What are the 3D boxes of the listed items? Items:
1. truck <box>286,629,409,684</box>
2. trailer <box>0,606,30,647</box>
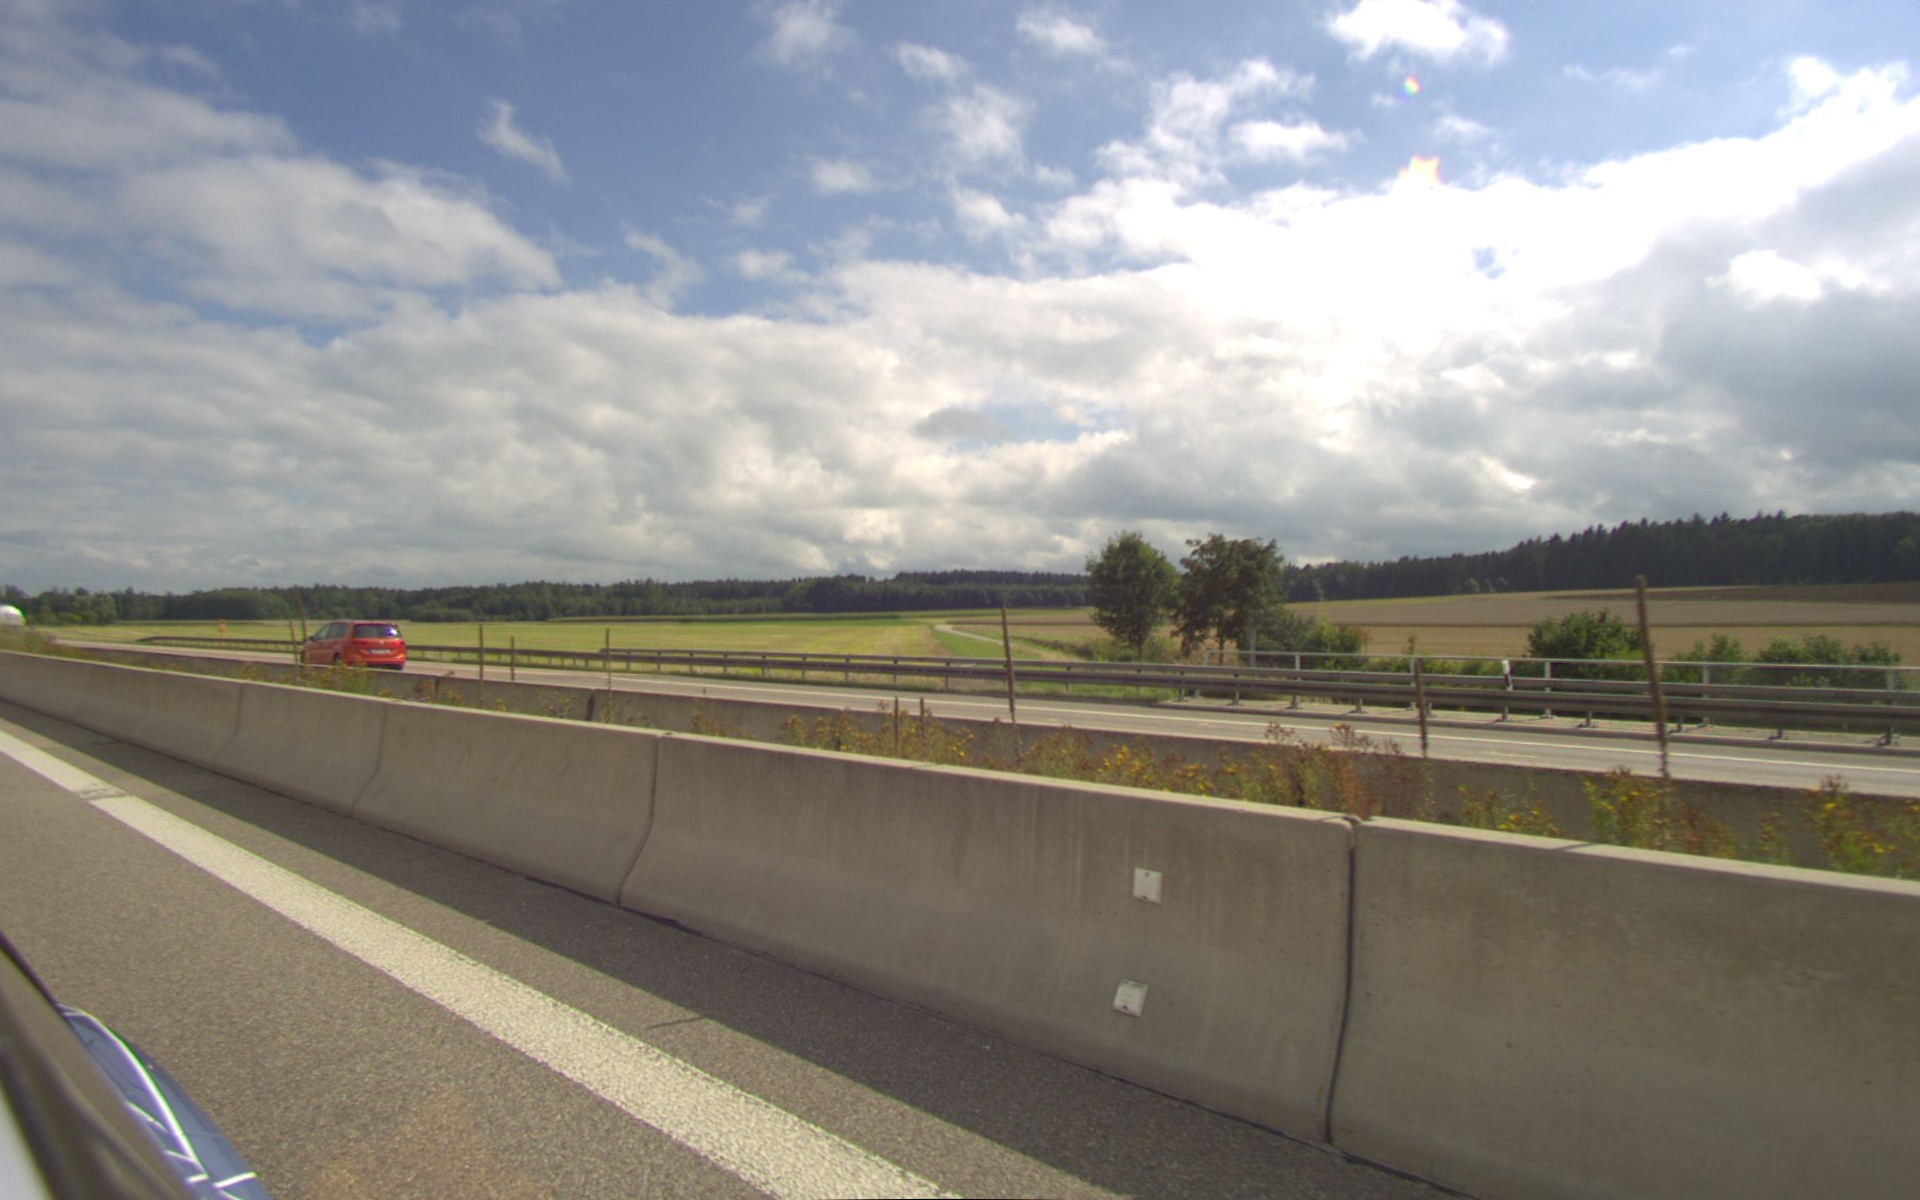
[{"bbox_3d":[-18.971,1.723,31.261,4.977,1.586,1.690,-2,-4,40],"label":"truck"},{"bbox_3d":[-98.841,2.757,104.398,11.030,4.130,2.861,-2,-4,41],"label":"trailer"}]
